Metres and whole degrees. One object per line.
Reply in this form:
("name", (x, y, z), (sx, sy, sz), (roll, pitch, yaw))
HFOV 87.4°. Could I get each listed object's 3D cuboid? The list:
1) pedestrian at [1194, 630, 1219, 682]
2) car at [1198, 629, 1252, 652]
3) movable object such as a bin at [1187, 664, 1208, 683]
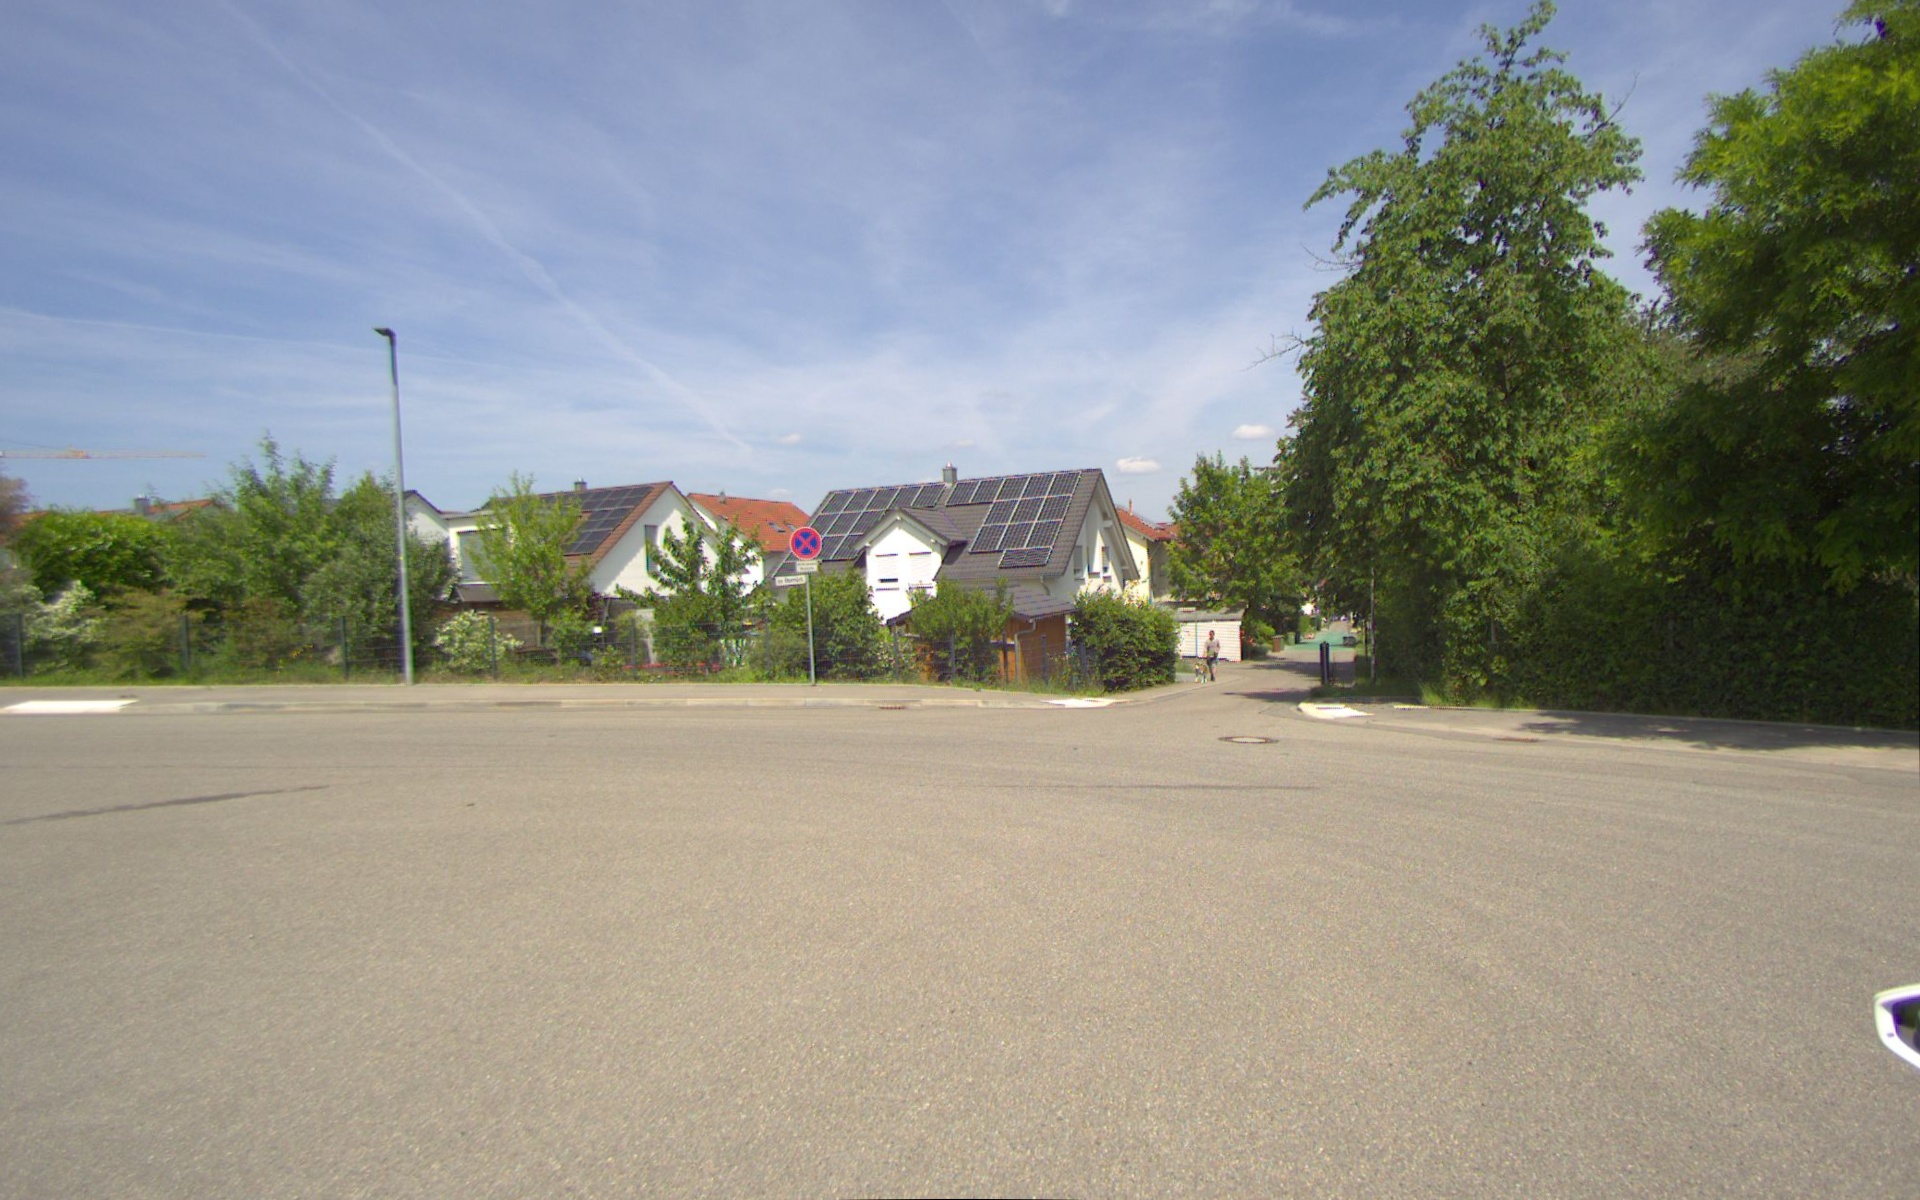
("pedestrian", (8.916, 2.023, 36.296), (0.832, 1.843, 0.836), (-1, -5, 17))
("car", (17.536, 2.686, 66.589), (3.357, 1.439, 1.587), (0, 0, 12))
("movable object such as a bin", (8.154, 2.517, 34.493), (0.539, 0.637, 1.021), (-1, -3, 23))
